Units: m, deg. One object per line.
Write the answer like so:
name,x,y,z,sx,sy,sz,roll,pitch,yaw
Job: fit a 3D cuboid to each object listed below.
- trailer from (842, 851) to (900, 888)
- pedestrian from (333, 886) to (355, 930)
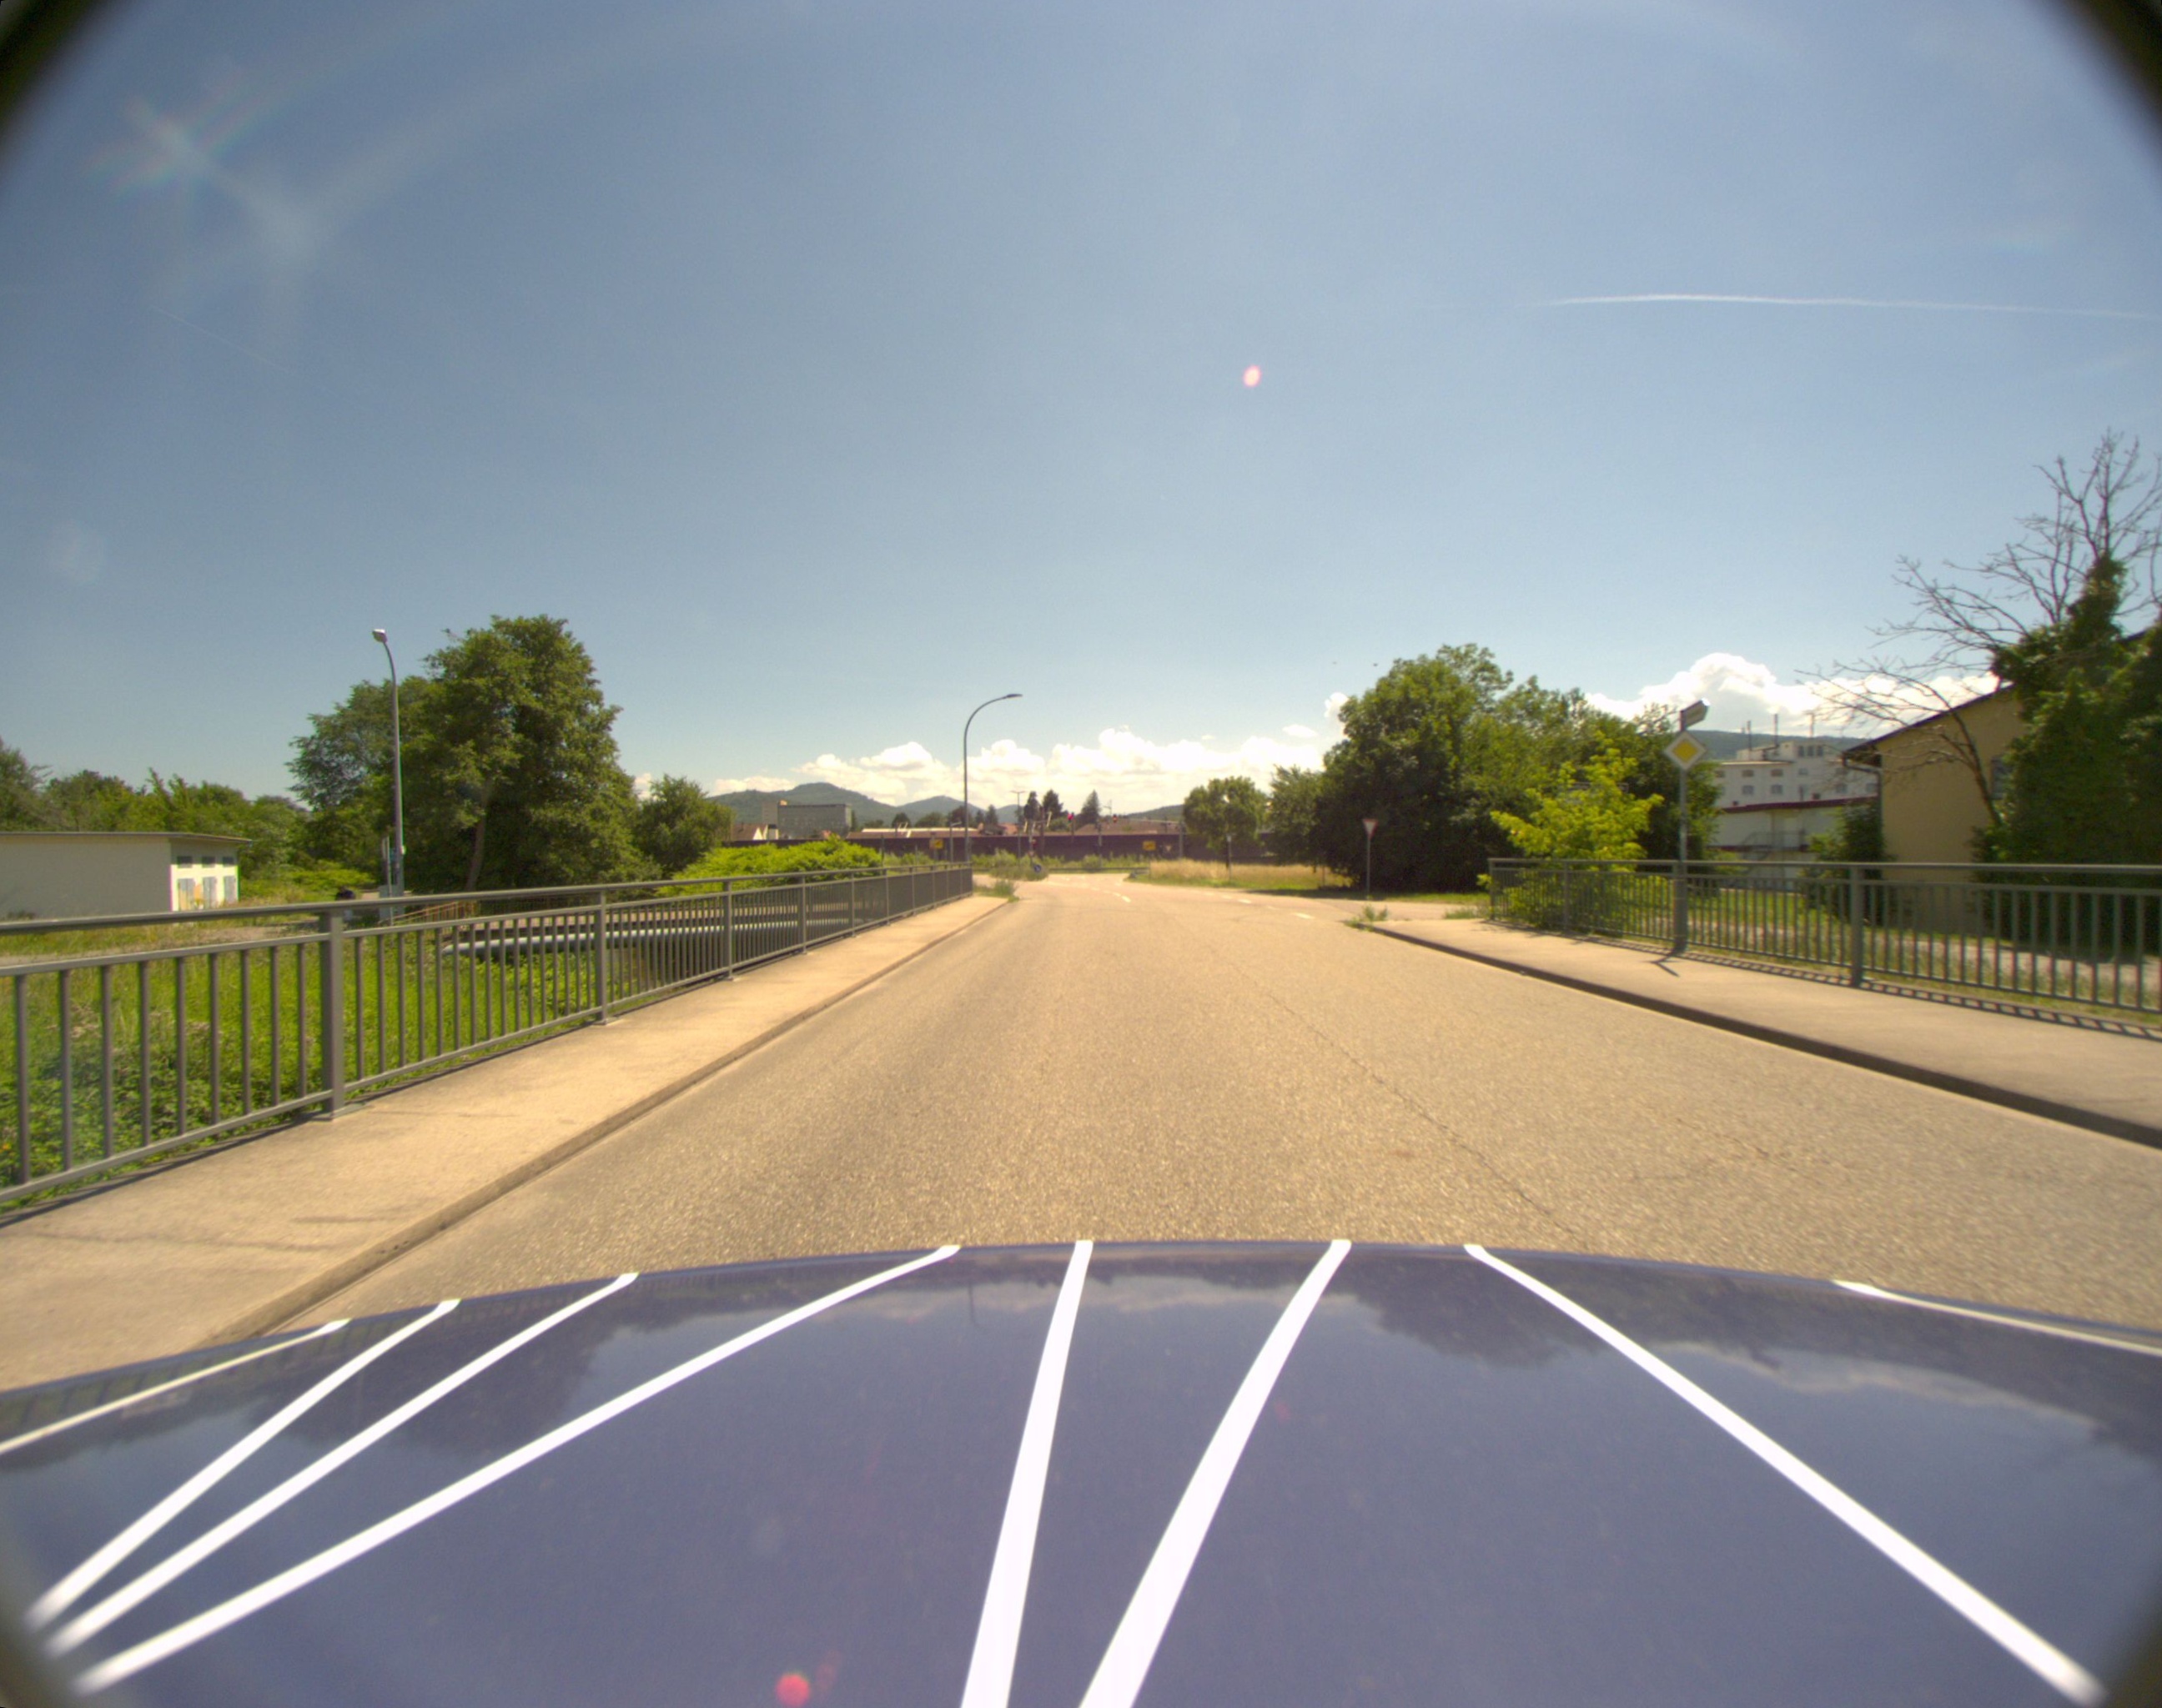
trailer,-12.465,0.860,45.016,1.855,2.066,3.958,-2,1,-39
pedestrian,-26.728,1.947,27.553,0.439,1.529,0.413,-2,-1,-27
